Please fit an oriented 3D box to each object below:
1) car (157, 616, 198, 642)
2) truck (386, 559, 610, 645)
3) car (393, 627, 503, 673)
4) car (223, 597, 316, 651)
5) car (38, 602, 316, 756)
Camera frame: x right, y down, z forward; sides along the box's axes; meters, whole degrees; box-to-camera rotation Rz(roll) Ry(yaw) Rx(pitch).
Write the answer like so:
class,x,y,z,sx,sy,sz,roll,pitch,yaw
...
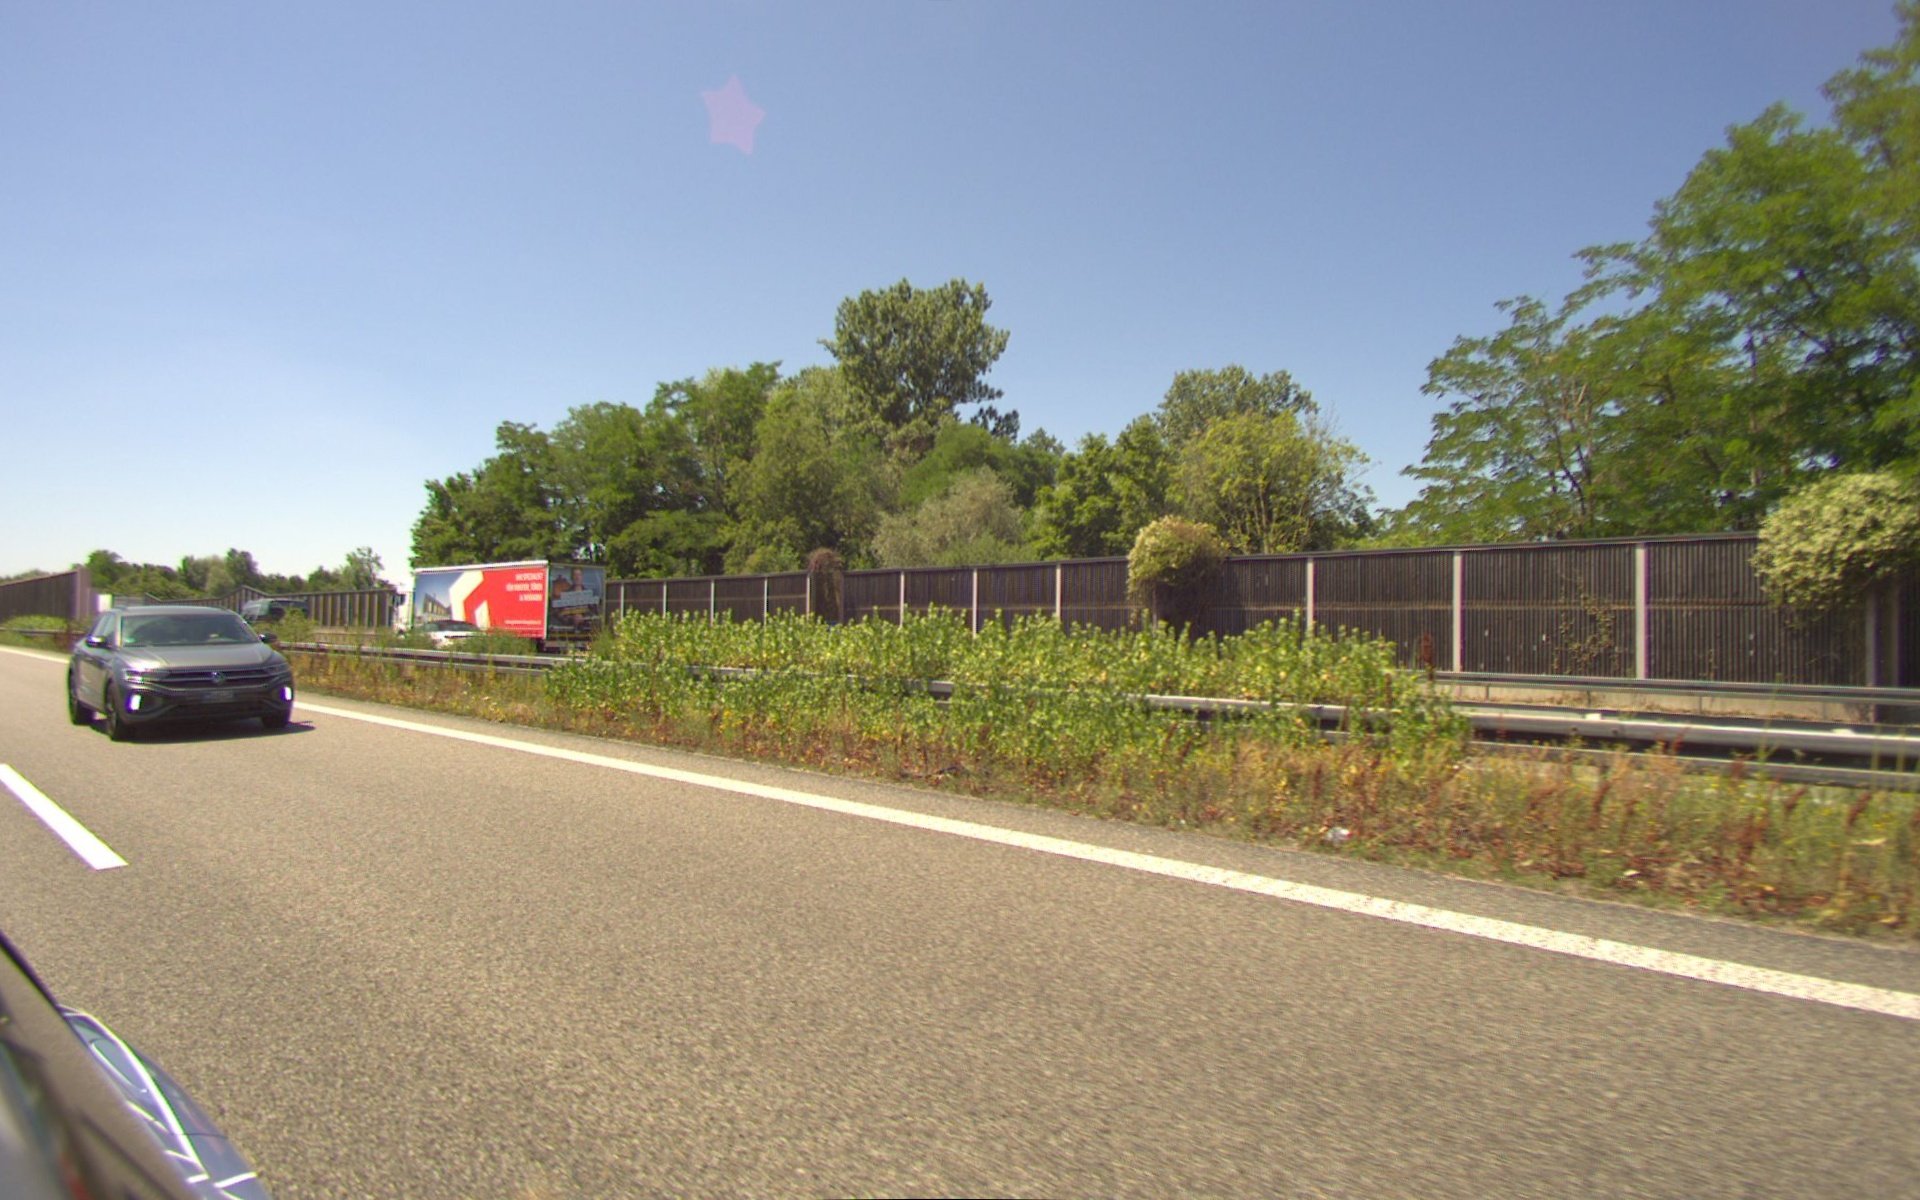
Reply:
class,x,y,z,sx,sy,sz,roll,pitch,yaw
car,-66.072,2.428,85.466,4.764,2.103,1.870,-1,-1,41
truck,-21.696,0.274,46.418,16.998,3.367,2.808,-2,-2,42
car,-17.232,1.640,34.002,4.497,1.423,1.759,-1,-2,41
car,-37.372,1.261,54.692,7.581,2.582,2.292,-1,2,42
car,-10.363,0.931,13.243,5.004,1.652,1.861,-2,-2,40
